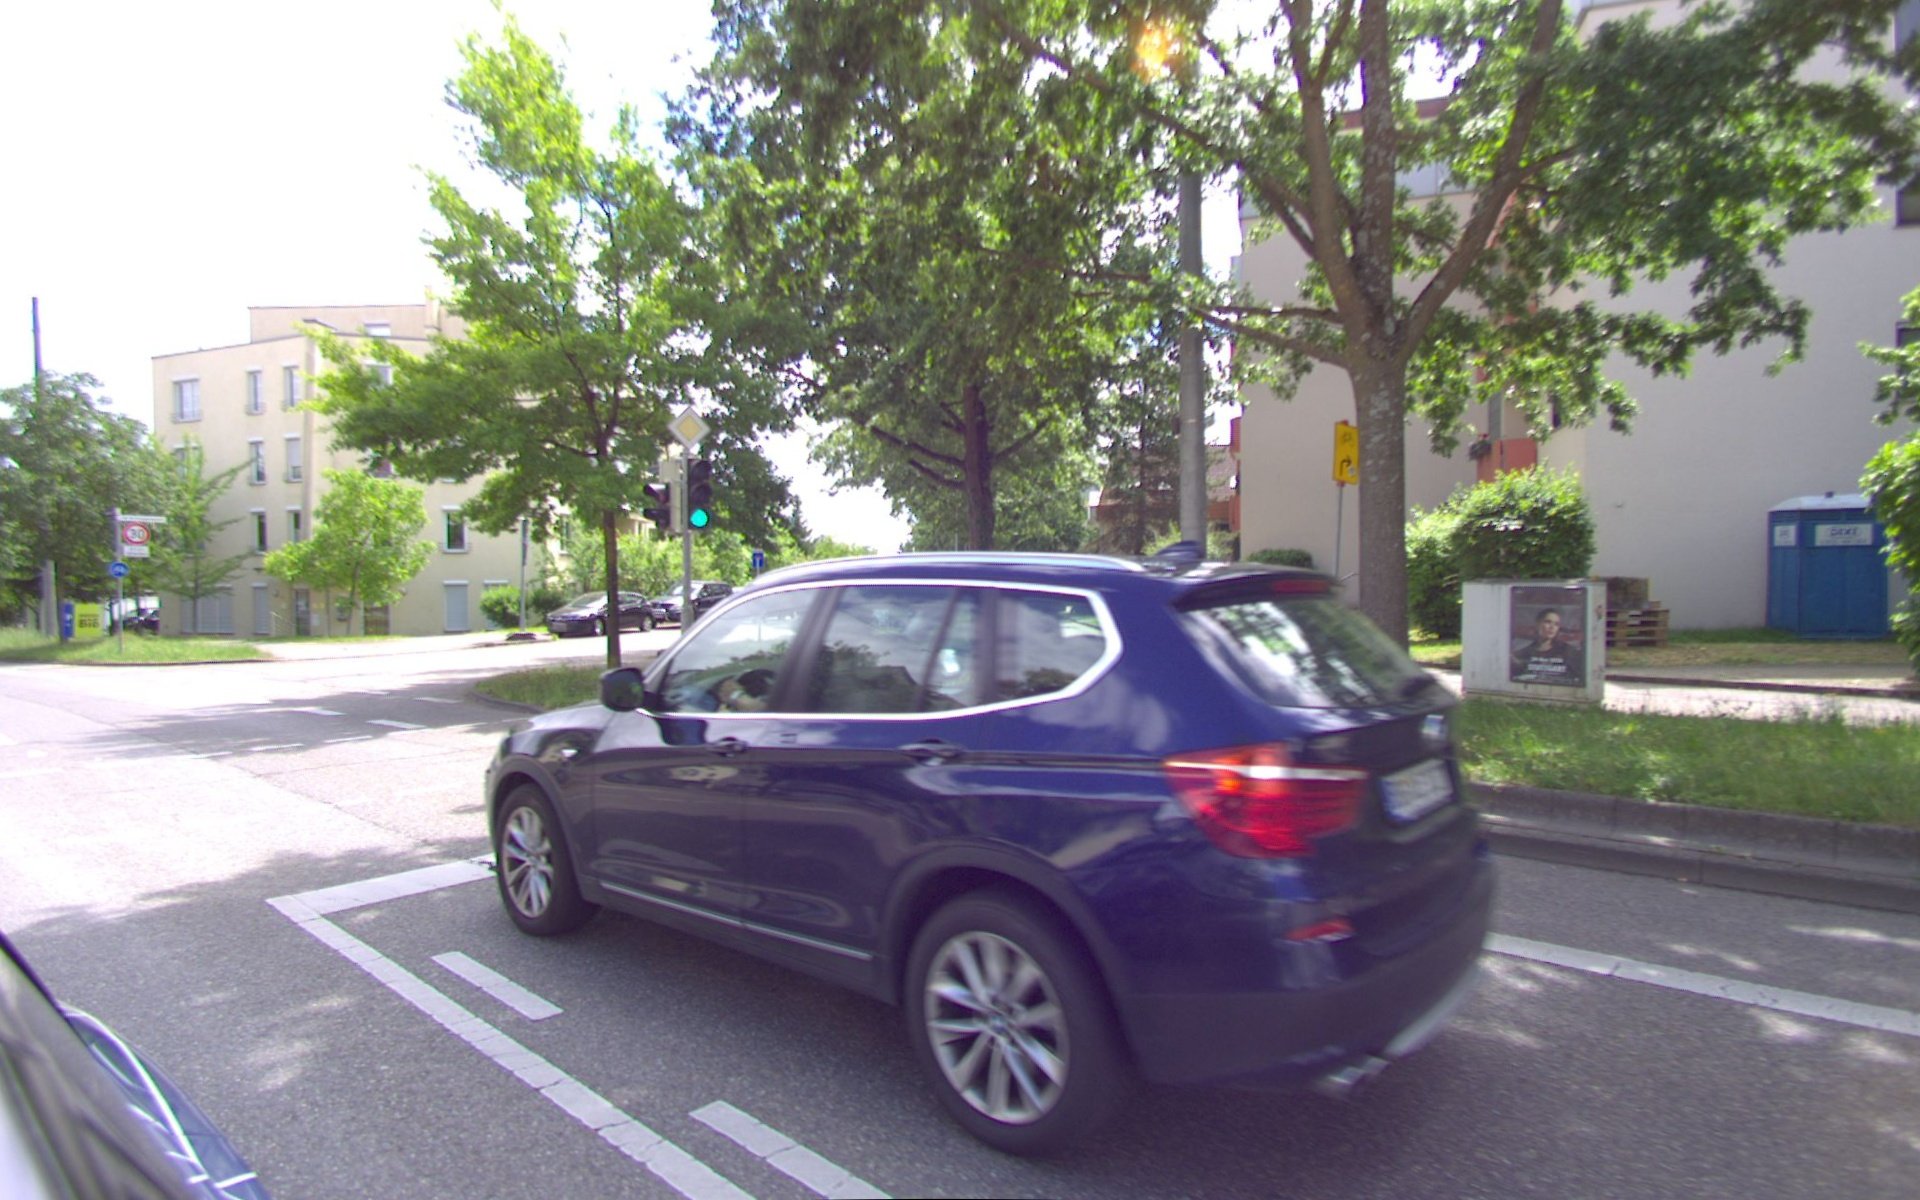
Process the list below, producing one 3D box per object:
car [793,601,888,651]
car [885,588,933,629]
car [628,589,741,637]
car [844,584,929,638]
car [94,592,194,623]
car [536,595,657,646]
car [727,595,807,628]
[{"bbox_3d":[-3.827,0.807,33.022,1.681,1.463,3.980,-1,0,16],"label":"car"},{"bbox_3d":[-2.379,0.367,47.451,2.095,1.807,4.421,-1,0,-3],"label":"car"},{"bbox_3d":[-10.712,0.441,39.761,2.084,1.615,4.766,1,3,17],"label":"car"},{"bbox_3d":[-2.625,0.448,37.213,1.830,1.858,3.977,-1,-2,17],"label":"car"},{"bbox_3d":[-40.761,0.399,50.661,1.769,1.431,3.999,-2,-1,0],"label":"car"},{"bbox_3d":[-12.308,0.657,34.576,1.723,1.408,4.130,-1,3,17],"label":"car"},{"bbox_3d":[-8.708,0.501,46.016,1.957,1.342,3.978,-1,1,17],"label":"car"}]
